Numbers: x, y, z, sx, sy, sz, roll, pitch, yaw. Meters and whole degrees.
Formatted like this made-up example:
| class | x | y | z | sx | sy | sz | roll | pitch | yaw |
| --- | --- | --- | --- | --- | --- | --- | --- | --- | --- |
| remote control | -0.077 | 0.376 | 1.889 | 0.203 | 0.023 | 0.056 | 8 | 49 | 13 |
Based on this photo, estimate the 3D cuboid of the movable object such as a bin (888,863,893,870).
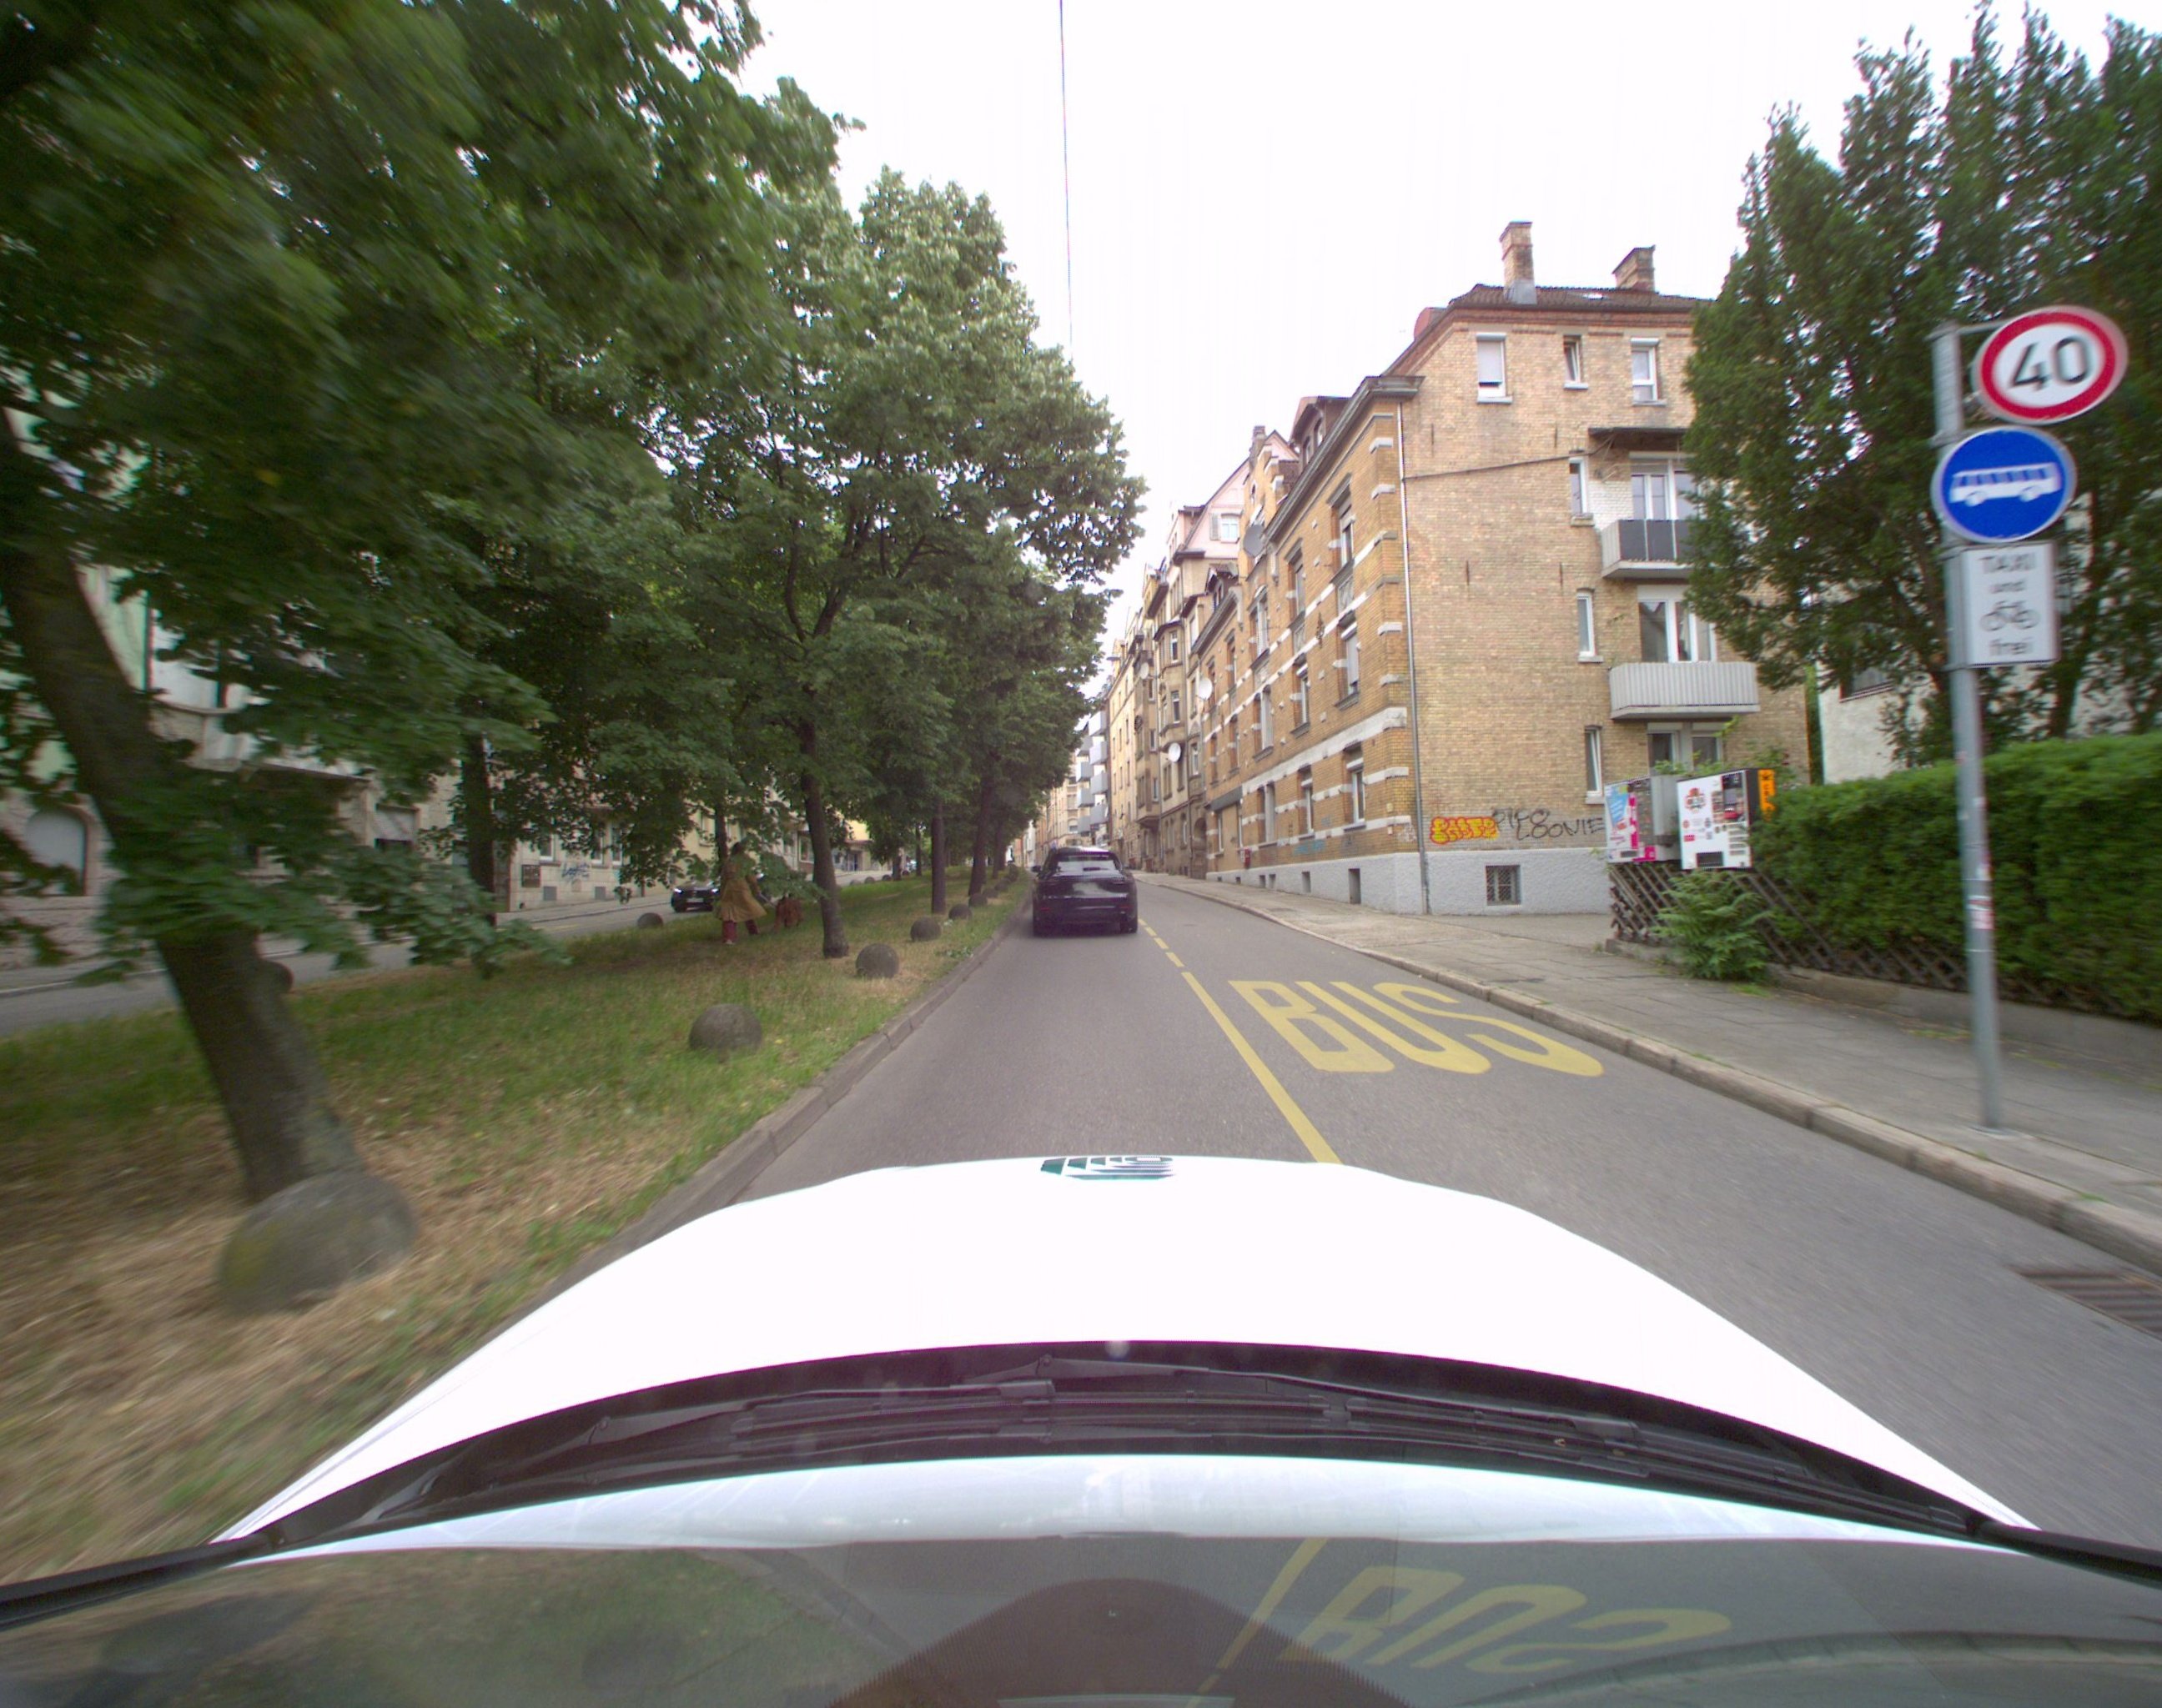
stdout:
| class | x | y | z | sx | sy | sz | roll | pitch | yaw |
| --- | --- | --- | --- | --- | --- | --- | --- | --- | --- |
| movable object such as a bin | -26.286 | 1.720 | 112.299 | 0.692 | 1.060 | 0.687 | 0 | -2 | -11 |

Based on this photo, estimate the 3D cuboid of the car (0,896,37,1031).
| class | x | y | z | sx | sy | sz | roll | pitch | yaw |
| --- | --- | --- | --- | --- | --- | --- | --- | --- | --- |
| car | -12.118 | 1.237 | 6.370 | 1.702 | 1.382 | 4.671 | -3 | 1 | 2 |

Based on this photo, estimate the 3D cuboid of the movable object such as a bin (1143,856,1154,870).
| class | x | y | z | sx | sy | sz | roll | pitch | yaw |
| --- | --- | --- | --- | --- | --- | --- | --- | --- | --- |
| movable object such as a bin | 4.396 | 0.589 | 53.161 | 0.593 | 0.904 | 0.562 | 0 | 0 | -4 |

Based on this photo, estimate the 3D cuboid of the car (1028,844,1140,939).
| class | x | y | z | sx | sy | sz | roll | pitch | yaw |
| --- | --- | --- | --- | --- | --- | --- | --- | --- | --- |
| car | 0.030 | 0.639 | 16.513 | 1.988 | 1.665 | 3.998 | -1 | 1 | -1 |

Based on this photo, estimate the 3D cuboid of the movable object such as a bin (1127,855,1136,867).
| class | x | y | z | sx | sy | sz | roll | pitch | yaw |
| --- | --- | --- | --- | --- | --- | --- | --- | --- | --- |
| movable object such as a bin | 3.813 | 0.525 | 61.761 | 0.593 | 0.904 | 0.502 | 0 | -4 | -4 |

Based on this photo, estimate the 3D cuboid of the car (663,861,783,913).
| class | x | y | z | sx | sy | sz | roll | pitch | yaw |
| --- | --- | --- | --- | --- | --- | --- | --- | --- | --- |
| car | -11.814 | 1.032 | 27.270 | 1.752 | 1.382 | 4.671 | -3 | 1 | 2 |

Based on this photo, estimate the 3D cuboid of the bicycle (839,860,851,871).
| class | x | y | z | sx | sy | sz | roll | pitch | yaw |
| --- | --- | --- | --- | --- | --- | --- | --- | --- | --- |
| bicycle | -24.291 | 1.147 | 83.875 | 0.766 | 1.085 | 2.018 | 1 | -2 | -28 |

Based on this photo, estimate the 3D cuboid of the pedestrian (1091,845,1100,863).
| class | x | y | z | sx | sy | sz | roll | pitch | yaw |
| --- | --- | --- | --- | --- | --- | --- | --- | --- | --- |
| pedestrian | 1.470 | -0.004 | 80.584 | 0.750 | 1.693 | 0.857 | -2 | -2 | -5 |

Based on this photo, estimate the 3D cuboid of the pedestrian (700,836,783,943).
| class | x | y | z | sx | sy | sz | roll | pitch | yaw |
| --- | --- | --- | --- | --- | --- | --- | --- | --- | --- |
| pedestrian | -5.830 | 0.607 | 14.062 | 0.830 | 1.712 | 1.123 | -5 | -2 | 1 |
